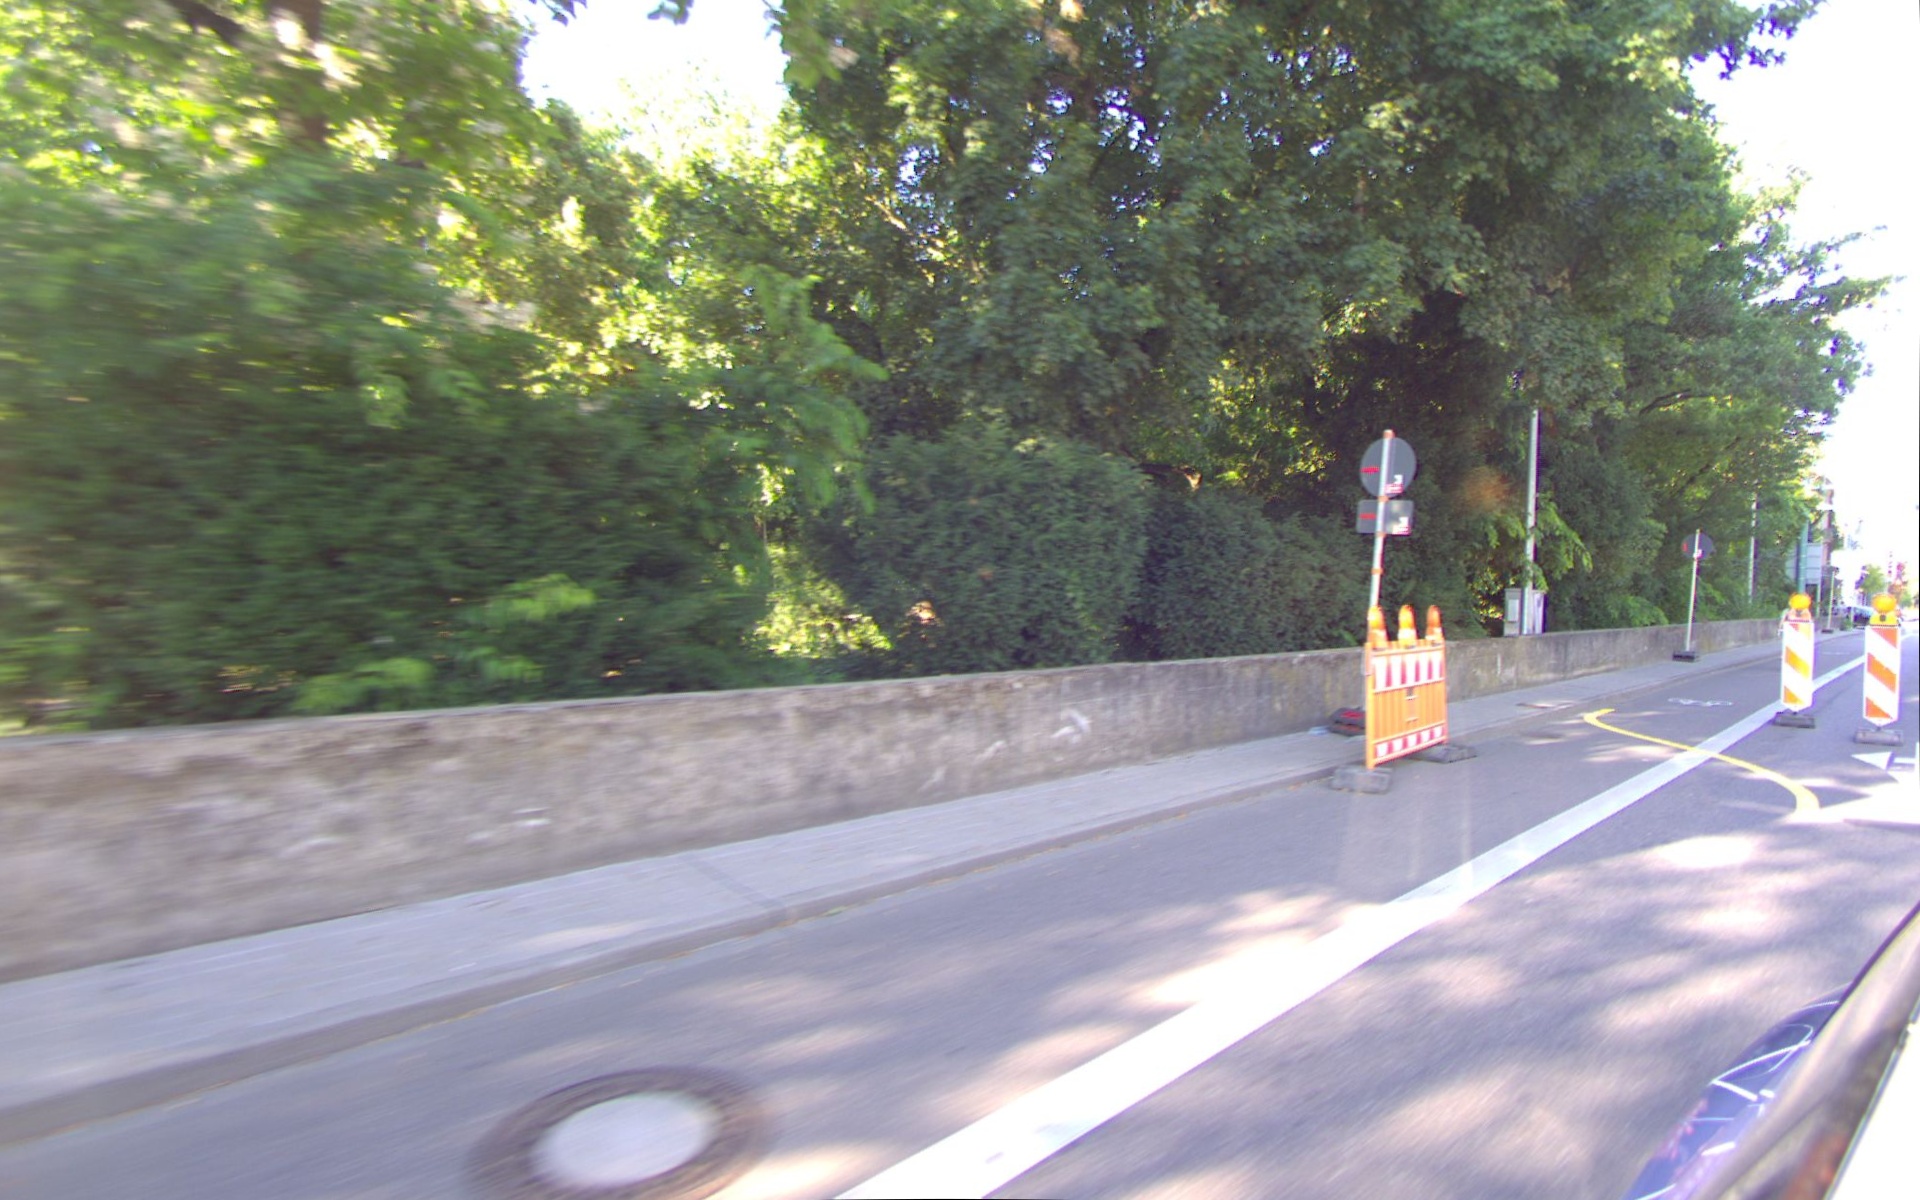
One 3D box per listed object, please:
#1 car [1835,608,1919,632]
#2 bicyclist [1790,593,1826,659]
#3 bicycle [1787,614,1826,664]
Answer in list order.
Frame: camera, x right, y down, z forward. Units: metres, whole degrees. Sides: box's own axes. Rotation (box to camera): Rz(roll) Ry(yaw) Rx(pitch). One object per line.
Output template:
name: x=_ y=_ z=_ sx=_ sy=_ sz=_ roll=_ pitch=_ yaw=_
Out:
car: x=60.654 y=1.320 z=66.949 sx=1.961 sy=1.371 sz=4.003 roll=1 pitch=2 yaw=-2
bicyclist: x=18.892 y=0.564 z=22.555 sx=0.515 sy=1.424 sz=0.792 roll=3 pitch=2 yaw=45
bicycle: x=18.813 y=0.843 z=22.481 sx=1.481 sy=1.037 sz=0.505 roll=0 pitch=2 yaw=-45
